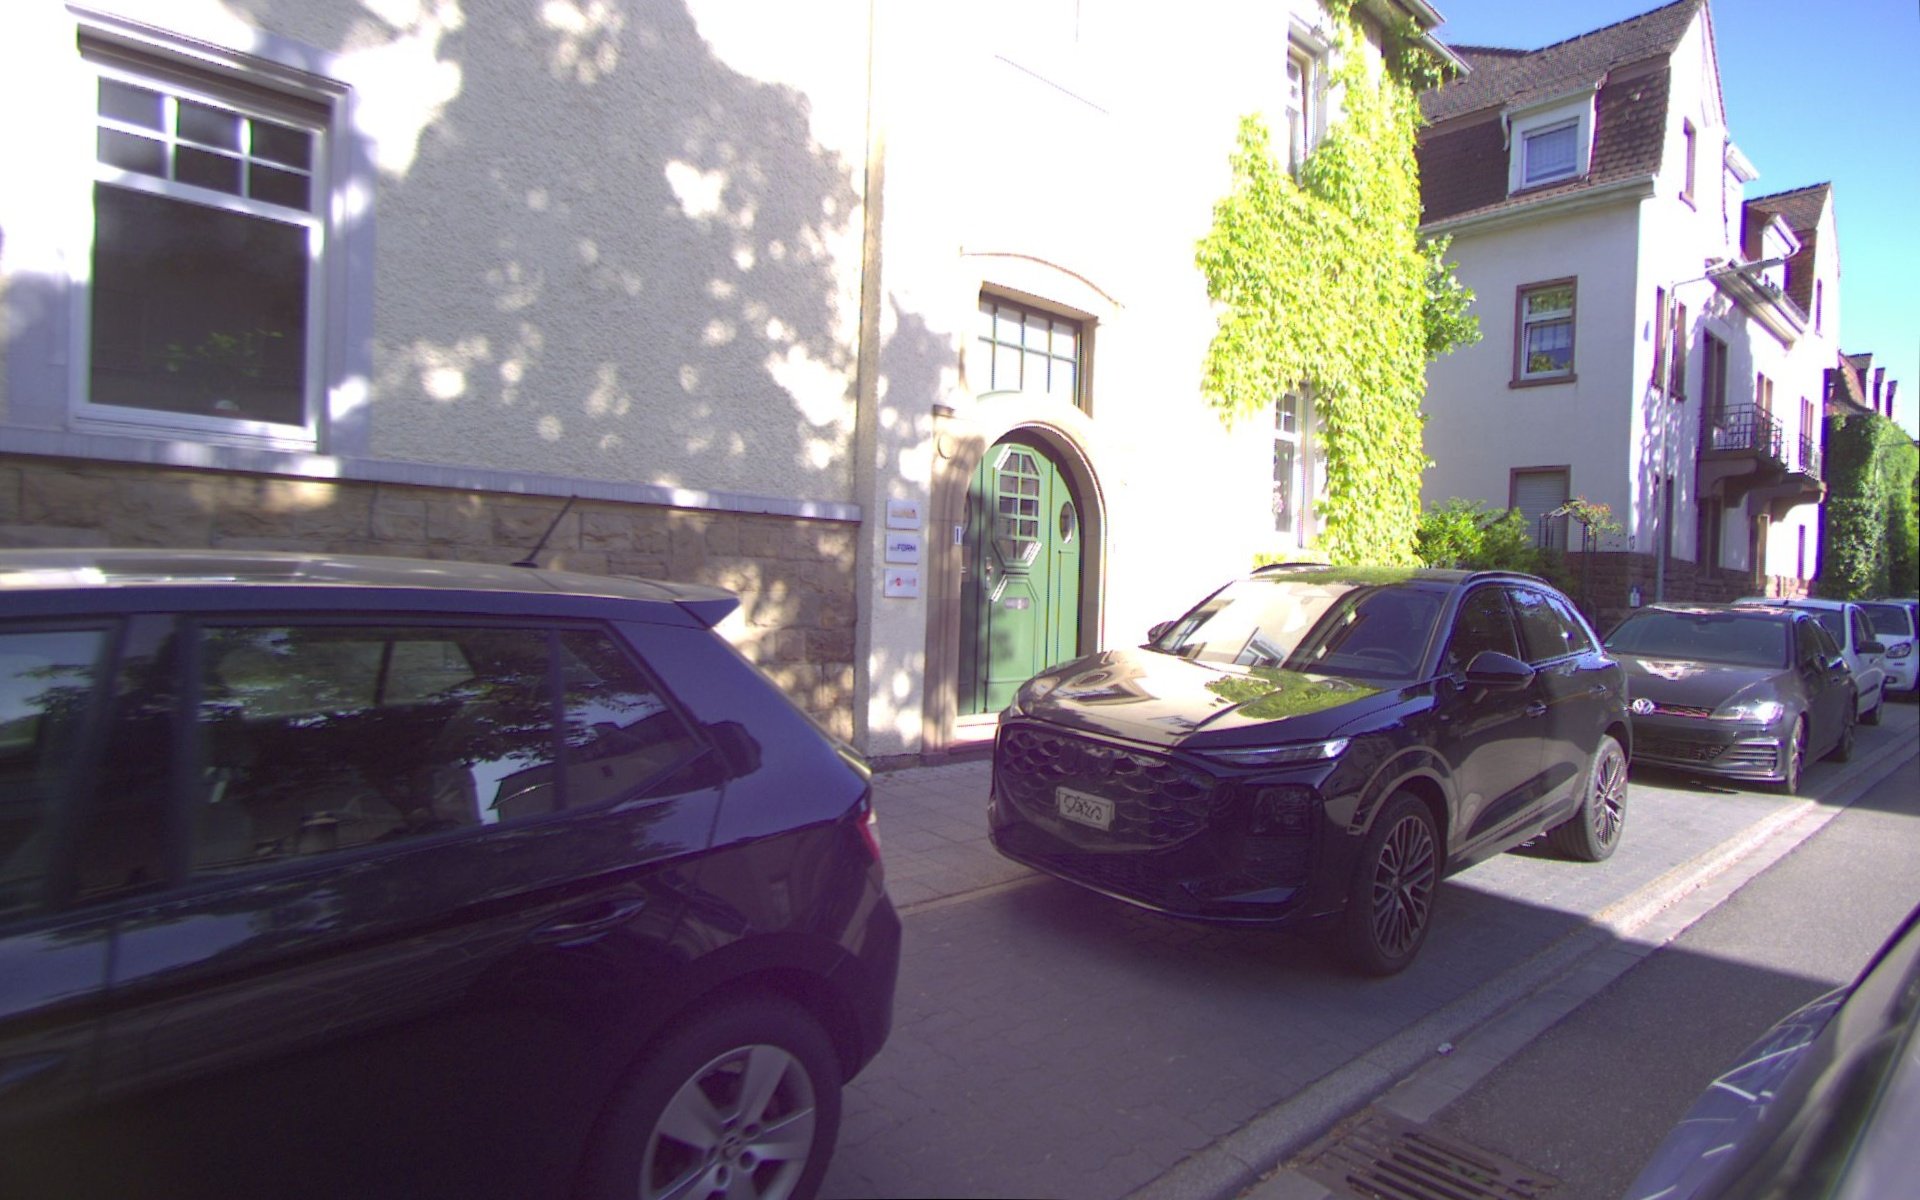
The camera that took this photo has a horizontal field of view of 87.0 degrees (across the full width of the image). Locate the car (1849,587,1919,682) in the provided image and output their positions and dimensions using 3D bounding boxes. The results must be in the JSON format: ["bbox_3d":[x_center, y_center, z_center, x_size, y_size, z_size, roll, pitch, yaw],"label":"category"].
[{"bbox_3d":[18.975,0.599,19.810,4.244,1.717,1.781,-1,1,-41],"label":"car"}]

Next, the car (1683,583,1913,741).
[{"bbox_3d":[10.243,0.623,12.303,3.408,1.568,1.579,-1,4,-41],"label":"car"}]

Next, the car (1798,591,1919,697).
[{"bbox_3d":[15.142,0.651,16.665,2.820,1.568,1.628,-1,1,-41],"label":"car"}]

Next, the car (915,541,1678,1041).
[{"bbox_3d":[2.013,0.540,5.249,4.291,1.538,1.795,-1,4,-41],"label":"car"}]

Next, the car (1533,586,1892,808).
[{"bbox_3d":[6.930,0.661,9.155,4.120,1.453,1.713,-1,5,-41],"label":"car"}]

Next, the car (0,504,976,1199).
[{"bbox_3d":[-1.965,0.604,1.648,3.936,1.538,1.664,-1,4,-44],"label":"car"}]
